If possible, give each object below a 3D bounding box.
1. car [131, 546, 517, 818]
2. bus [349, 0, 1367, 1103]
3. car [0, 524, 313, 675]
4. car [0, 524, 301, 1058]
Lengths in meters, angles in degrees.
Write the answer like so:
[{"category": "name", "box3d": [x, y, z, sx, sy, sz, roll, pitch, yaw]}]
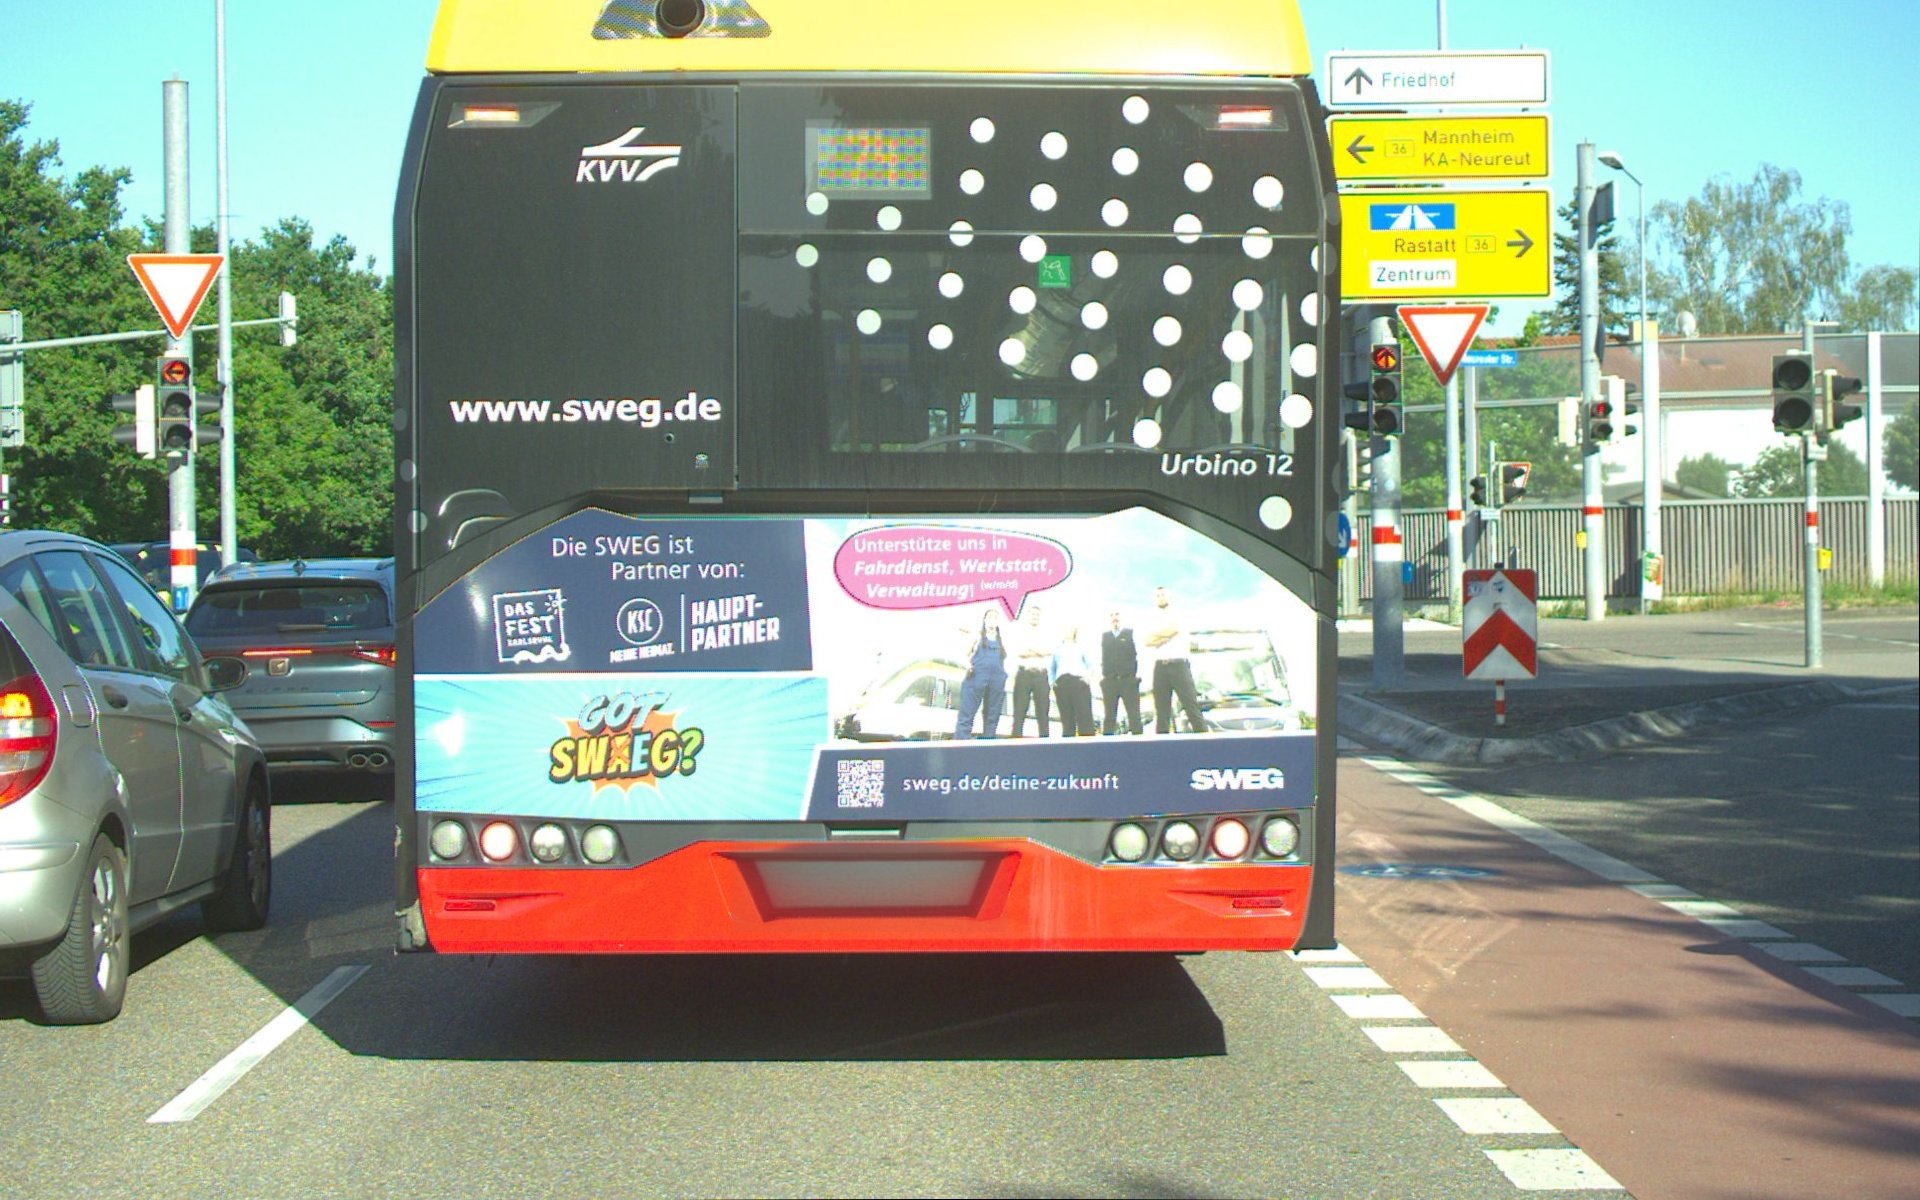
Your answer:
[{"category": "car", "box3d": [-3.805, 0.430, 21.136, 1.692, 1.453, 3.751, -2, 1, -1]}, {"category": "bus", "box3d": [-0.286, -0.403, 14.903, 2.642, 3.156, 11.861, 0, 1, 0]}, {"category": "car", "box3d": [-8.836, -0.031, 37.209, 1.764, 1.521, 4.076, -1, 1, 19]}, {"category": "car", "box3d": [-3.598, 0.560, 12.205, 1.761, 1.584, 4.000, -2, 1, -1]}]
